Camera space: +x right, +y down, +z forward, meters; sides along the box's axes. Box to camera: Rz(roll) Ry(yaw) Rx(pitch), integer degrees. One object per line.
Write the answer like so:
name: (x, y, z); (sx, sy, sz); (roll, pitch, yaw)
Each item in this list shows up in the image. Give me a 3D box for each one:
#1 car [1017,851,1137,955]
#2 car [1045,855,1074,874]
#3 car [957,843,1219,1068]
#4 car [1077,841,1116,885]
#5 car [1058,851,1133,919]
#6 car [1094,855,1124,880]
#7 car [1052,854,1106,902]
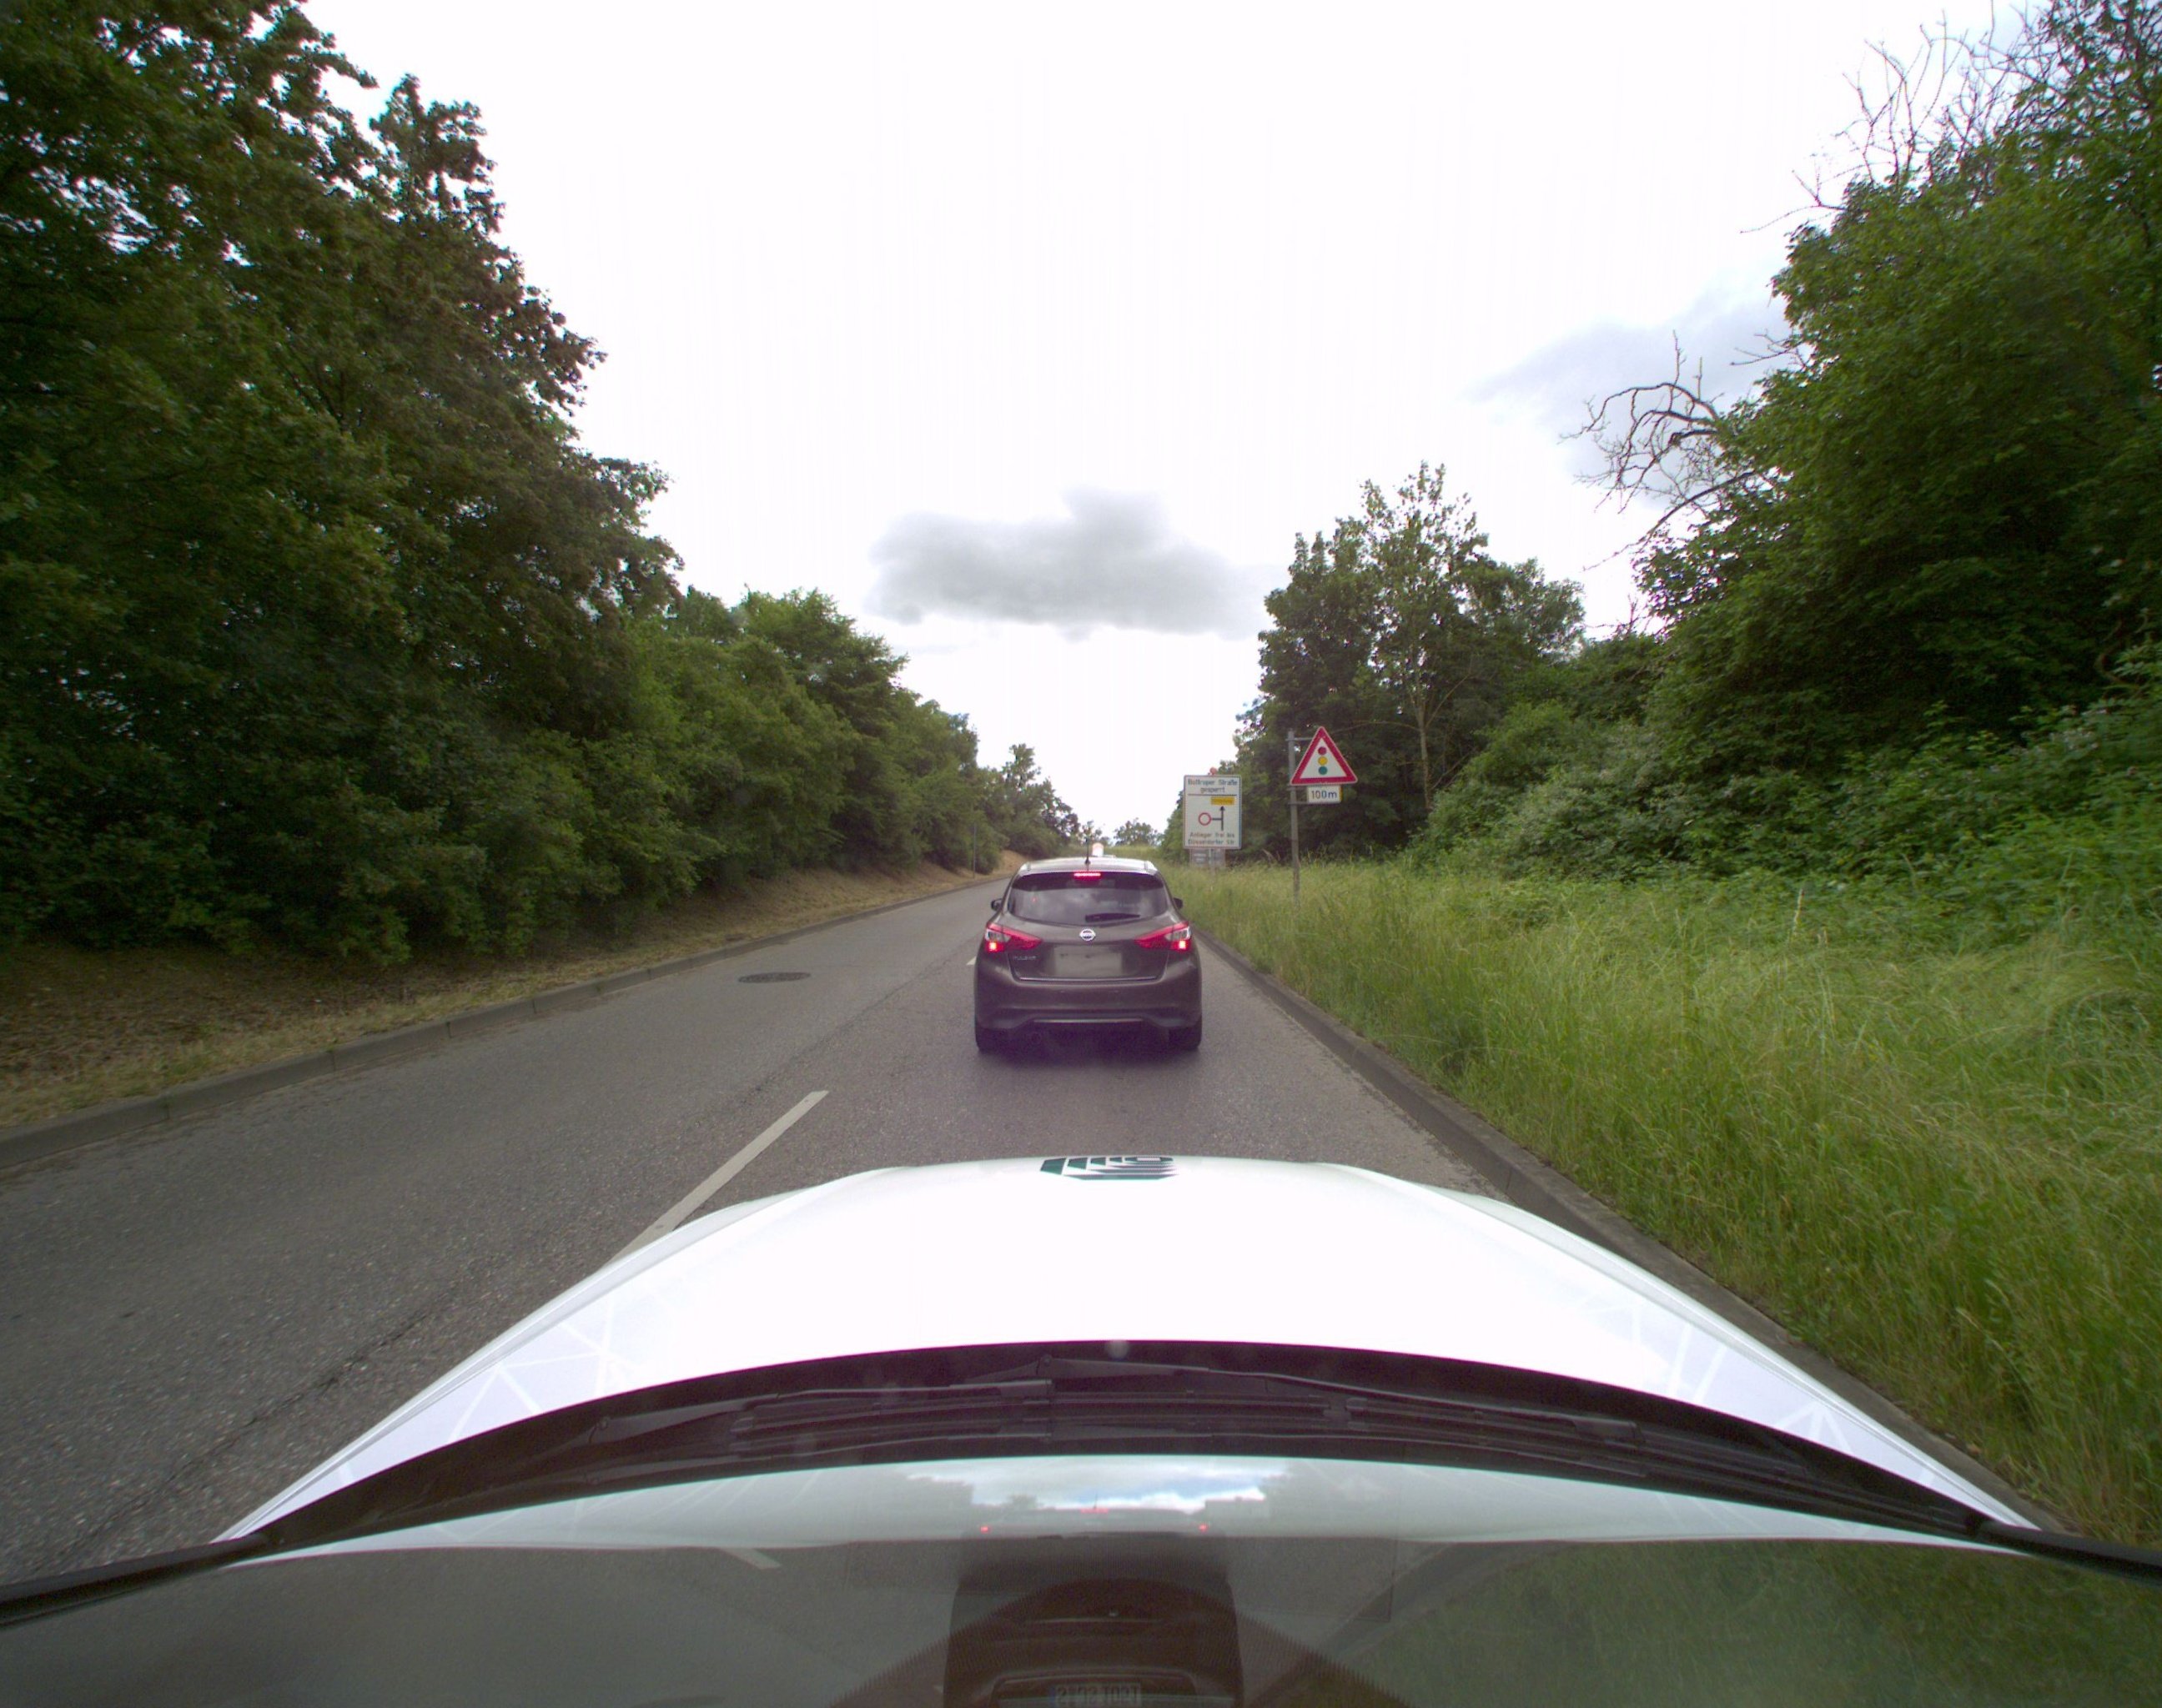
car: (0.006, 0.754, 14.373); (1.823, 1.556, 3.626); (-1, 0, 2)
car: (-1.673, 0.809, 64.386); (1.632, 1.400, 3.831); (-1, 0, 9)
car: (0.062, 0.717, 7.501); (1.824, 1.556, 3.499); (-1, 0, 0)
car: (0.767, 0.394, 38.249); (1.729, 1.935, 3.545); (-1, 0, 2)
car: (0.414, 0.724, 20.934); (1.729, 1.556, 3.545); (-1, 0, 2)
car: (1.848, 0.848, 52.652); (1.728, 1.526, 3.547); (-1, 0, 4)
car: (-0.025, 0.795, 28.869); (1.729, 1.556, 3.545); (-1, 0, 2)
